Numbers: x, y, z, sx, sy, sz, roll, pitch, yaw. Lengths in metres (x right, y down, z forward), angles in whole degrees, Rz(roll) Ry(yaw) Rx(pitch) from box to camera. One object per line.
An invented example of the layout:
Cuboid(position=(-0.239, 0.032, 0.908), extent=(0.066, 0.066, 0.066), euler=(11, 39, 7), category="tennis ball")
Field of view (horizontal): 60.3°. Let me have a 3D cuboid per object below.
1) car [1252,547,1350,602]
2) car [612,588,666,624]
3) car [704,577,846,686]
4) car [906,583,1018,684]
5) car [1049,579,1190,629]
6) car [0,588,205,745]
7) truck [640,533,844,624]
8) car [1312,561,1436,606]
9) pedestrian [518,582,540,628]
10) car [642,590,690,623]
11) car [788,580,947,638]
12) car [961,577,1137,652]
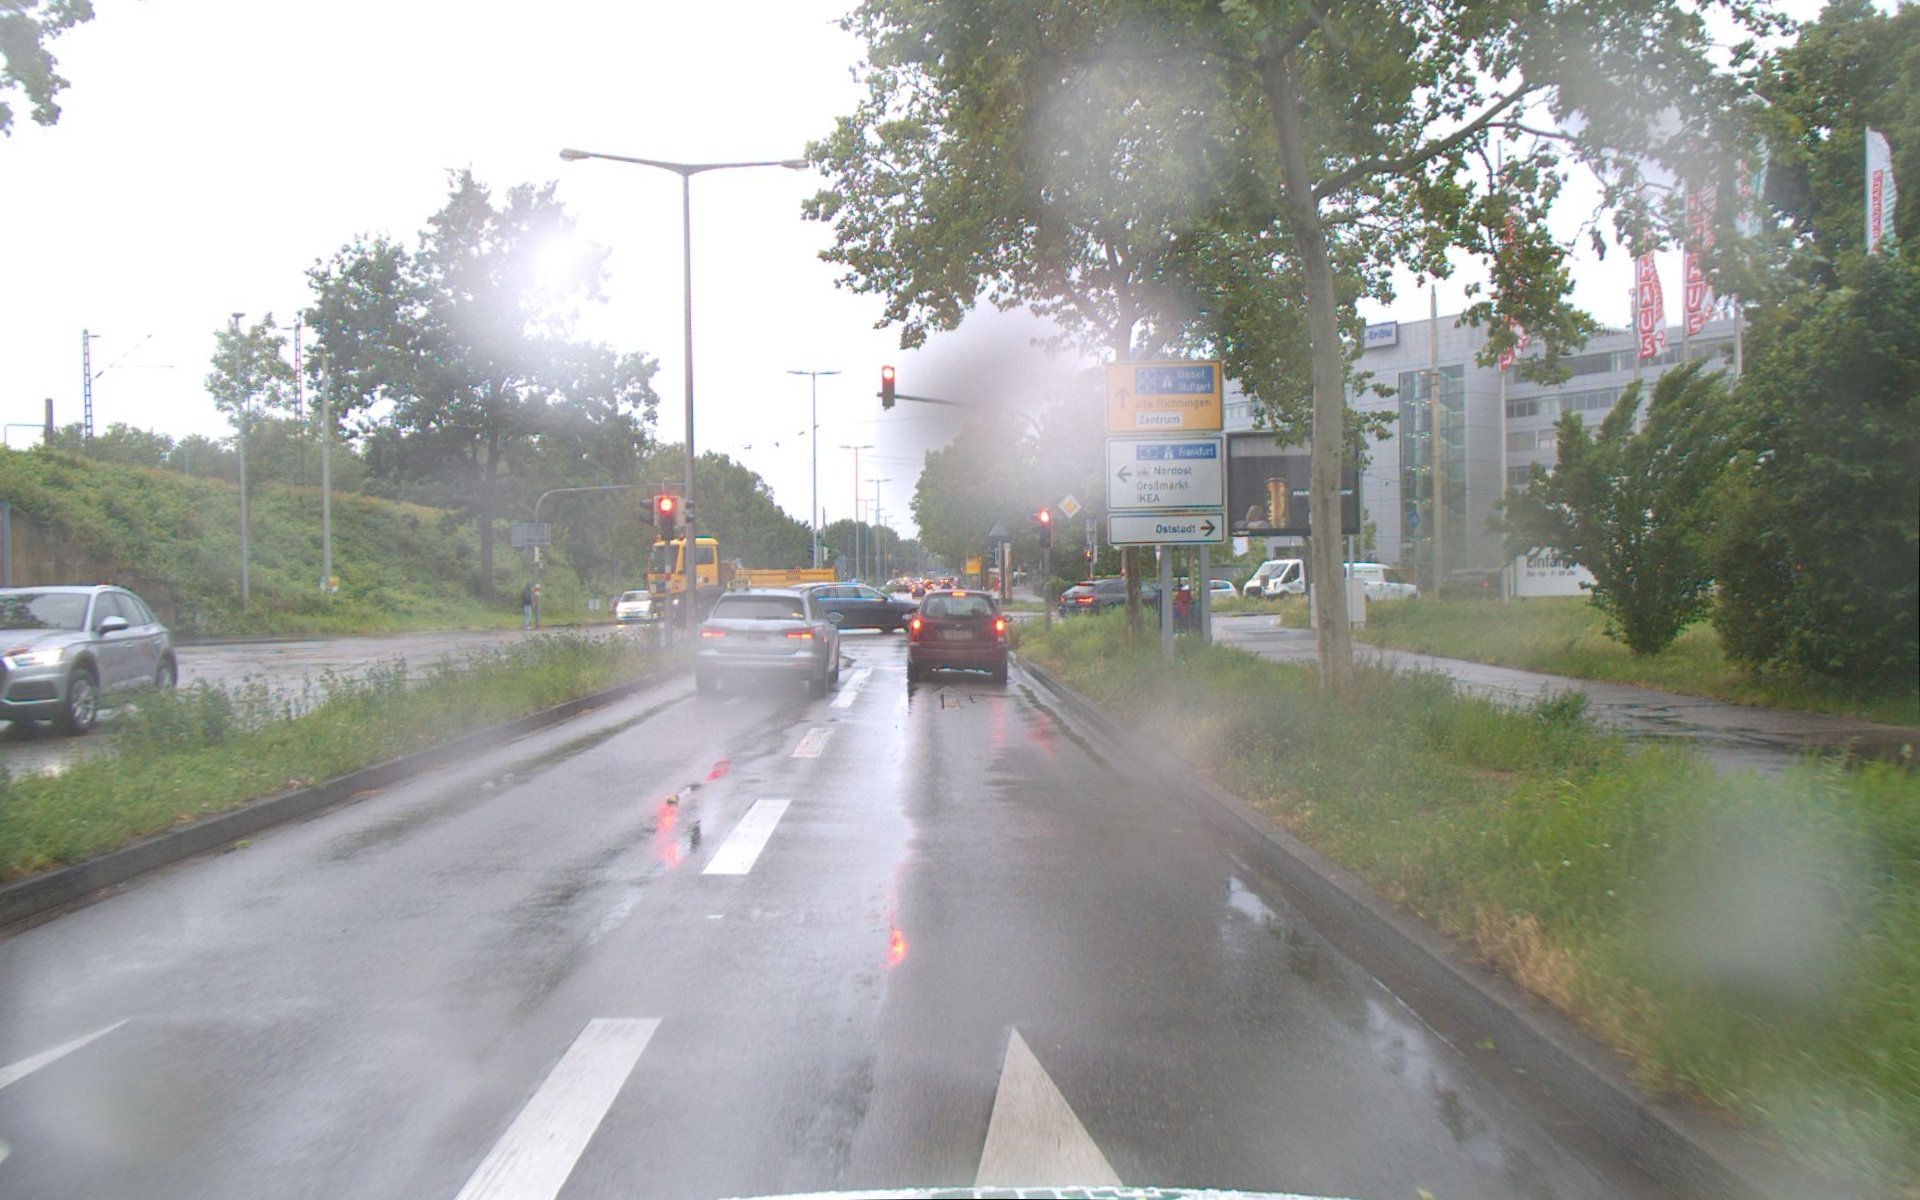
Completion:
Cuboid(position=(15.365, -1.174, 74.418), extent=(4.339, 2.228, 1.779), euler=(-4, 2, -36), category="car")
Cuboid(position=(-14.487, 0.251, 74.845), extent=(1.678, 1.557, 3.999), euler=(-1, 0, -1), category="car")
Cuboid(position=(-2.633, 0.408, 24.410), extent=(1.656, 1.458, 4.573), euler=(0, 0, -1), category="car")
Cuboid(position=(0.000, 0.520, 28.306), extent=(1.760, 1.564, 4.386), euler=(1, 0, -1), category="car")
Cuboid(position=(5.131, 0.113, 53.075), extent=(4.327, 1.564, 1.784), euler=(0, 0, -30), category="car")
Cuboid(position=(-10.568, 0.696, 19.365), extent=(1.821, 1.617, 4.512), euler=(-1, 0, -7), category="car")
Cuboid(position=(-7.797, -0.793, 59.643), extent=(6.977, 3.107, 2.611), euler=(-1, 0, -38), category="truck")
Cuboid(position=(14.895, -0.604, 59.432), extent=(4.327, 1.564, 1.784), euler=(-1, 0, -30), category="car")
Cuboid(position=(-17.107, 0.189, 65.642), extent=(0.522, 1.817, 0.673), euler=(1, -1, 16), category="pedestrian")
Cuboid(position=(-14.419, 0.290, 81.385), extent=(1.678, 1.557, 3.999), euler=(-1, 0, -1), category="car")
Cuboid(position=(-2.677, 0.242, 48.340), extent=(4.327, 1.564, 1.784), euler=(-1, 0, -30), category="car")
Cuboid(position=(2.245, 0.308, 41.042), extent=(4.349, 1.563, 1.775), euler=(-4, 3, -41), category="car")
